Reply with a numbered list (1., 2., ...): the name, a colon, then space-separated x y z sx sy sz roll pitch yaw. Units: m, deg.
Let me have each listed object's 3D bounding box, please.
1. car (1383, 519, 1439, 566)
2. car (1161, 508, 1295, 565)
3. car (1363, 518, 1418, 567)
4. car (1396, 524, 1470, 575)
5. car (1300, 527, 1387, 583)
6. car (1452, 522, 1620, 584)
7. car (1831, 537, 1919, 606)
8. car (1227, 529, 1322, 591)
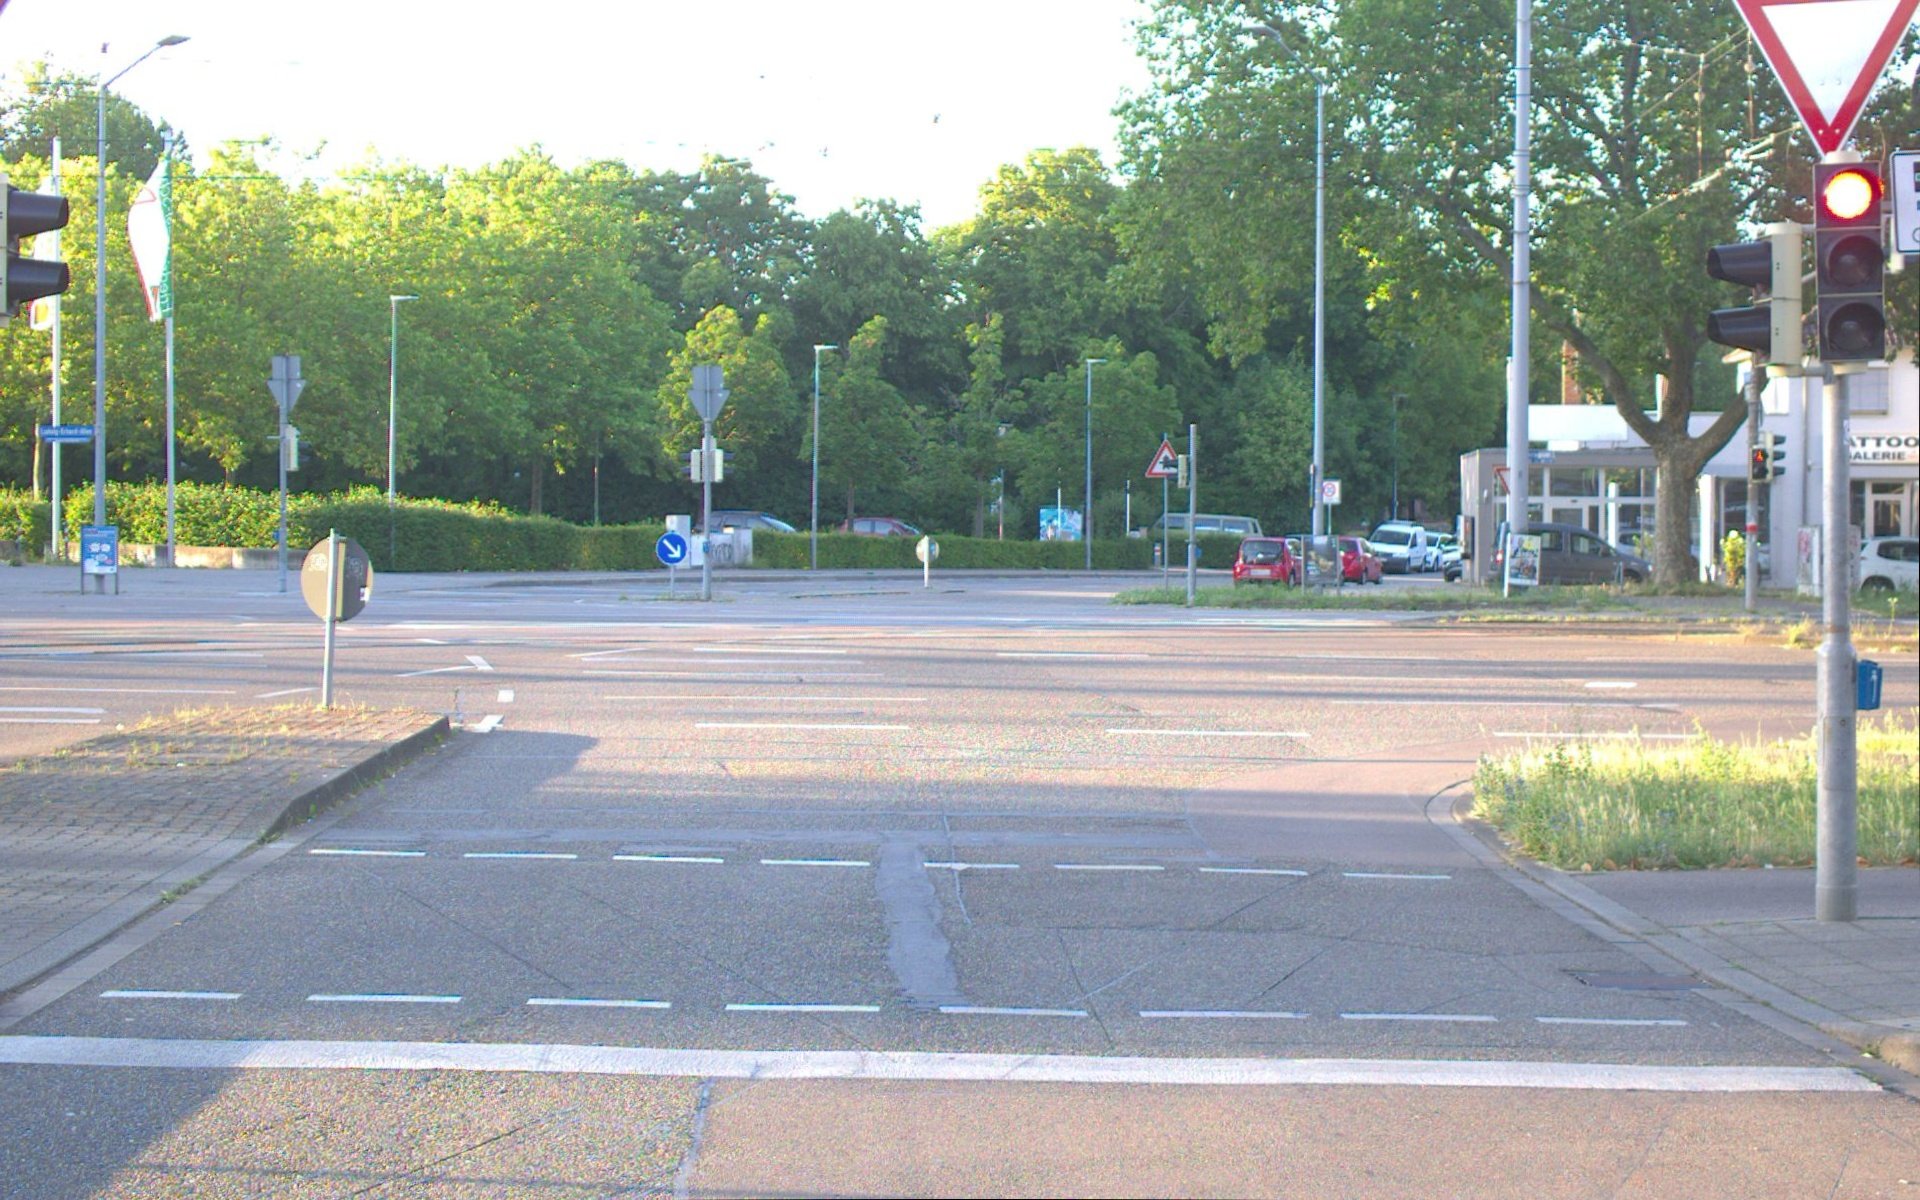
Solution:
1. car: 17.881 -2.251 136.081 1.864 1.788 3.998 1 0 12
2. car: 9.782 -2.318 125.872 4.774 1.999 2.000 0 0 2
3. car: 16.427 -2.188 131.186 1.864 1.788 3.998 1 0 10
4. car: 15.921 -1.675 115.595 1.995 1.656 3.997 1 0 15
5. car: 11.556 -1.336 103.371 1.995 1.656 3.997 1 0 15
6. car: 14.912 -1.214 89.165 4.220 1.547 1.999 1 0 7
7. car: 20.320 -0.584 72.289 3.741 1.435 1.663 1 0 9
8. car: 8.777 -1.097 95.684 1.995 1.656 3.997 1 0 15
